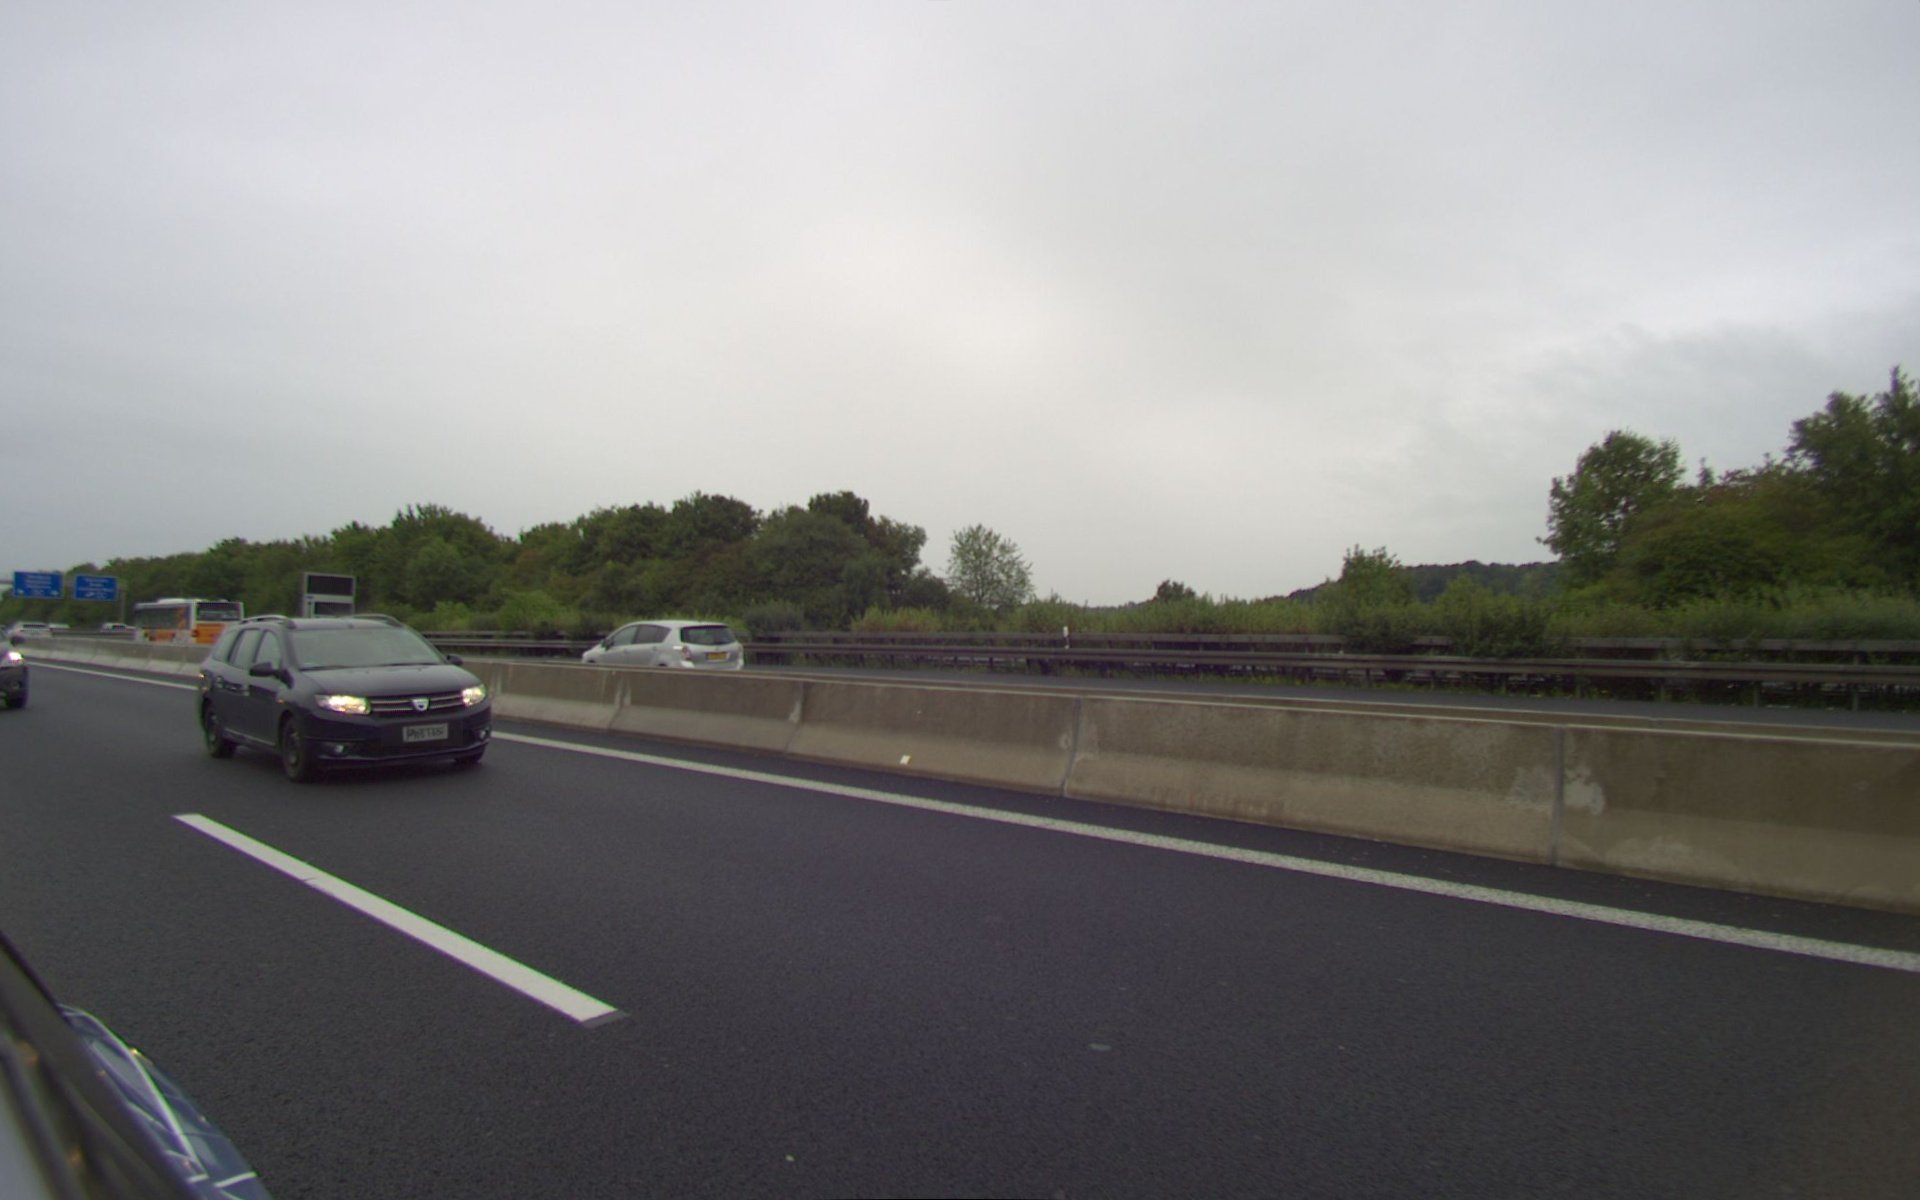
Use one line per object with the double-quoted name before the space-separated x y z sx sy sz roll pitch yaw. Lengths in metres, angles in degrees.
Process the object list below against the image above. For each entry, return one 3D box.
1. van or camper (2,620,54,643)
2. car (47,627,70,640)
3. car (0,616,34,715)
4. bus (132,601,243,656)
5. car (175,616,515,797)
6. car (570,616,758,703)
"van or camper" -62.676 2.099 68.046 4.577 1.458 1.732 -1 -2 37
"car" -126.484 4.695 141.920 4.408 1.800 1.782 -1 -3 40
"car" -17.377 1.066 17.166 3.829 1.592 1.791 -1 -2 37
"bus" -45.846 1.617 59.836 11.888 2.981 2.671 -1 -2 40
"car" -6.566 0.924 10.569 4.564 1.501 1.703 -1 -2 41
"car" -6.564 1.223 22.232 4.301 1.724 1.973 -1 -2 41
